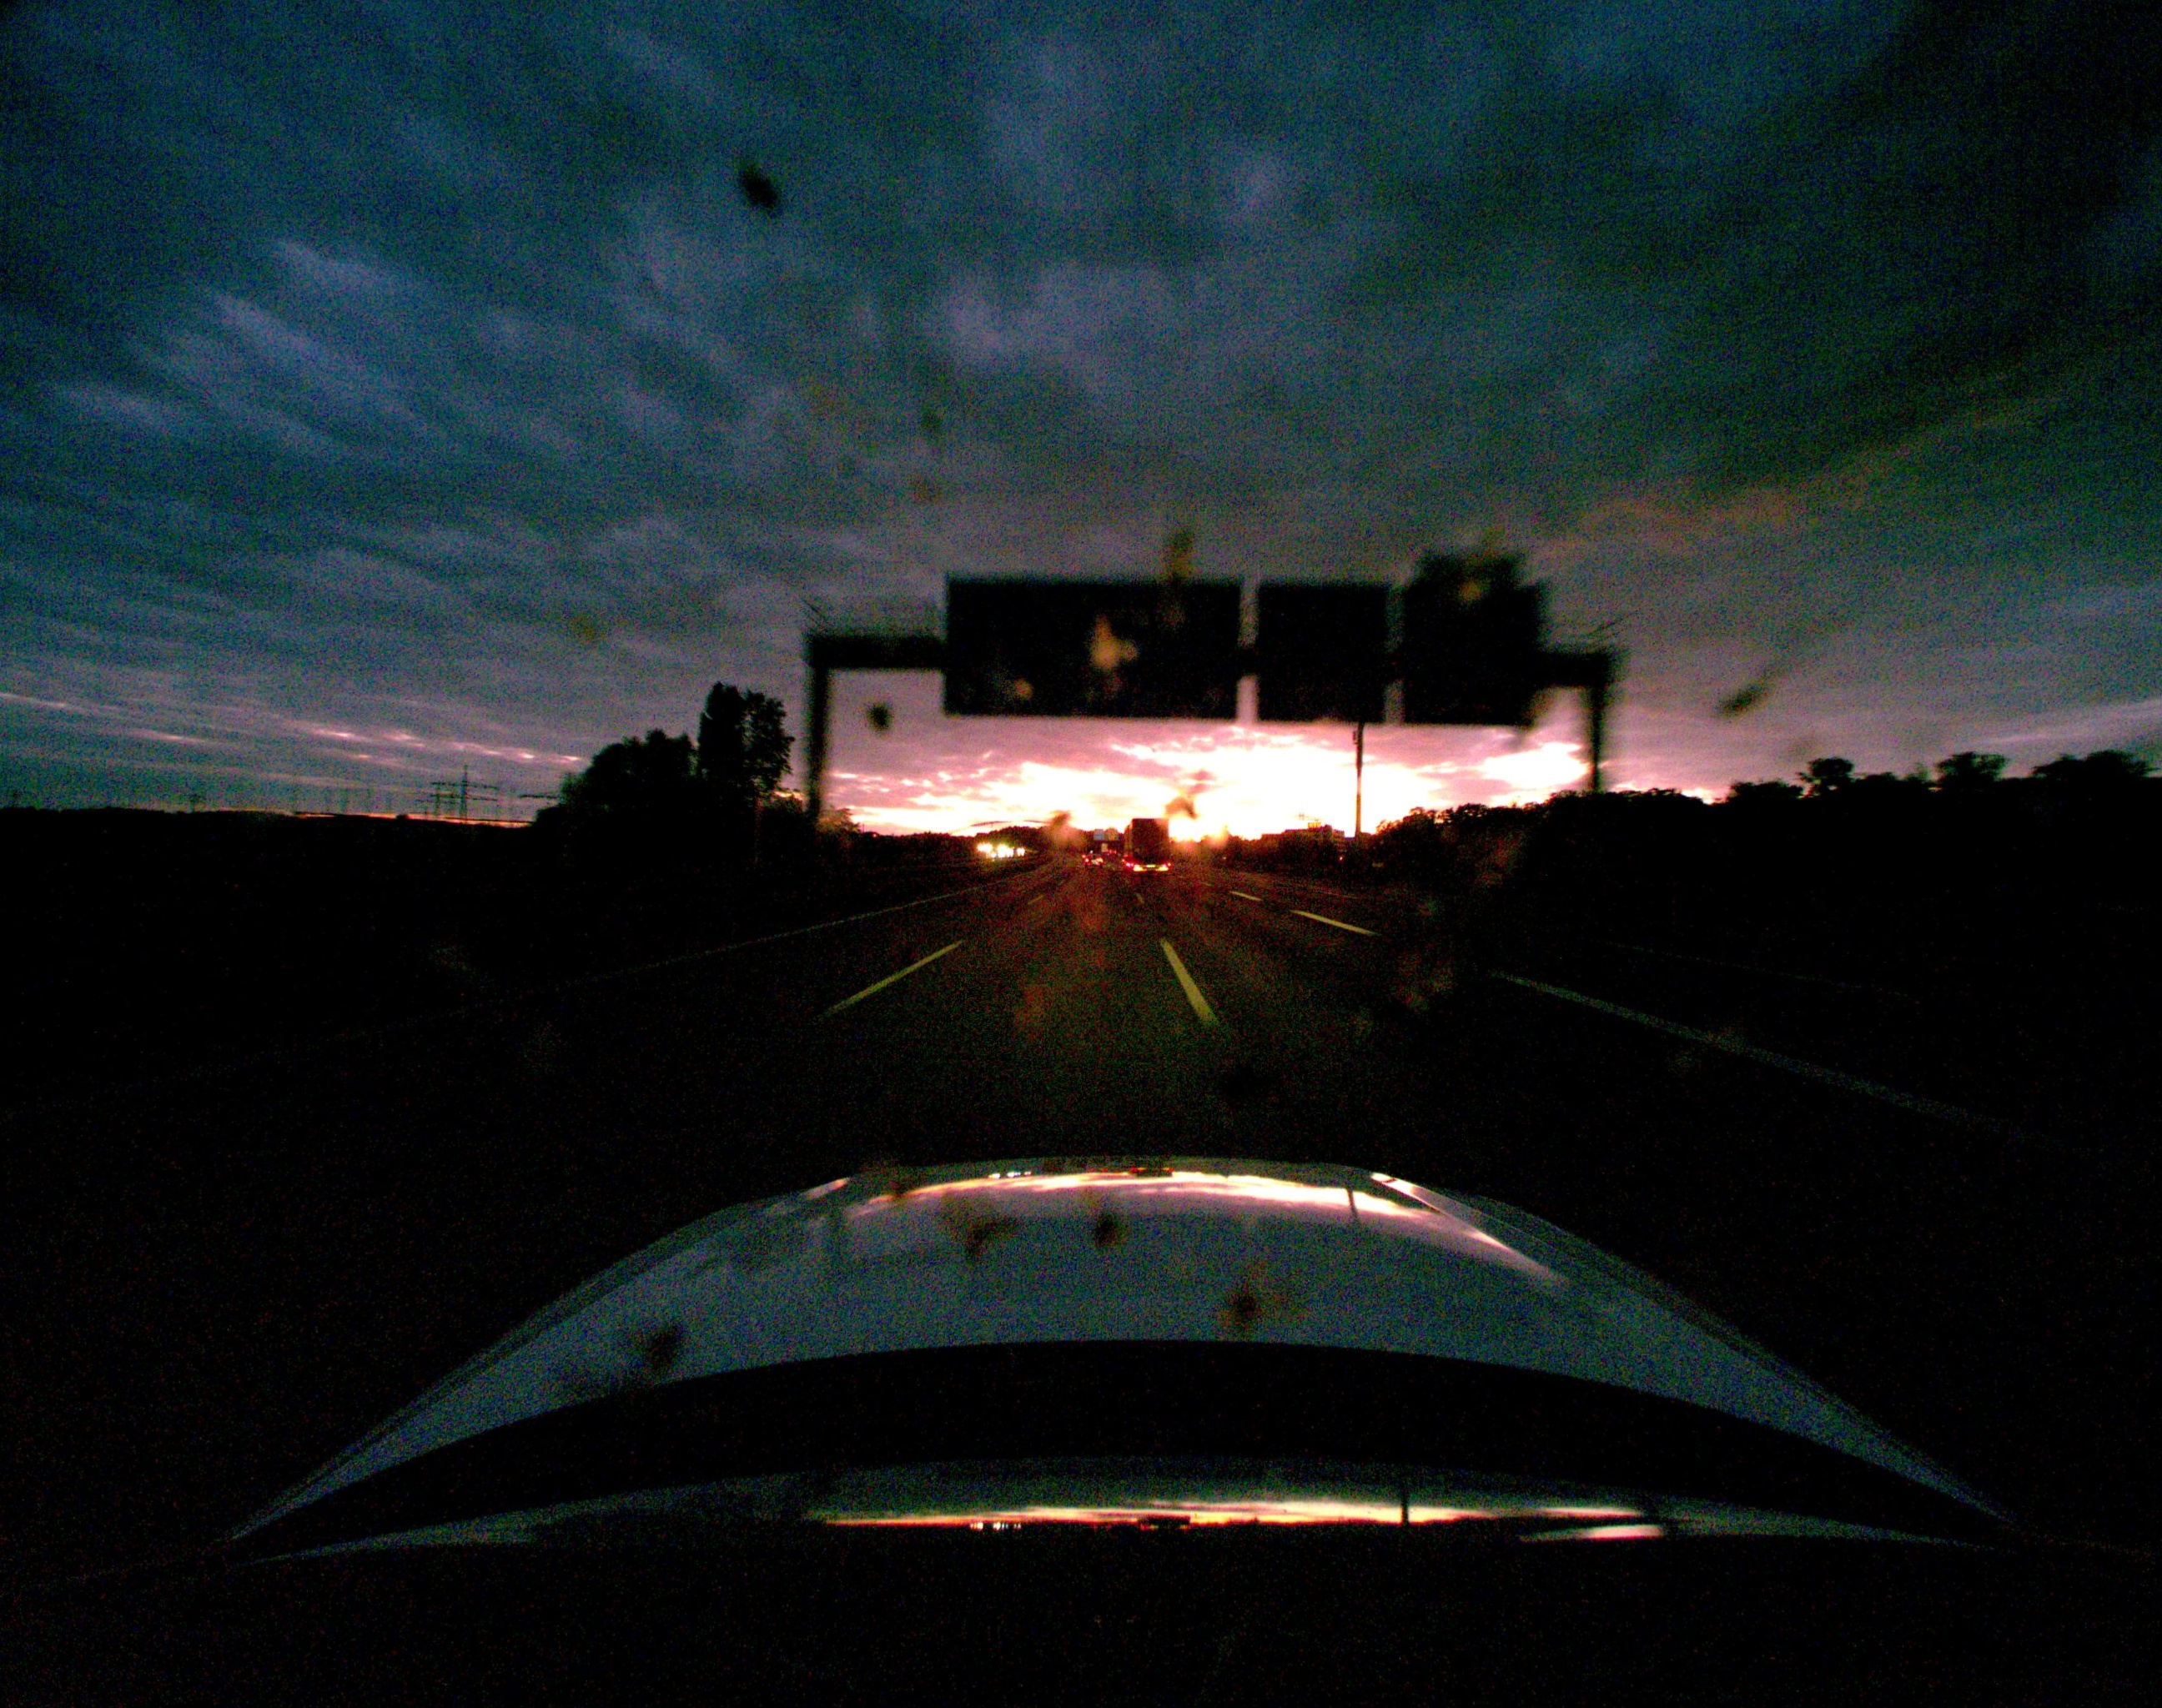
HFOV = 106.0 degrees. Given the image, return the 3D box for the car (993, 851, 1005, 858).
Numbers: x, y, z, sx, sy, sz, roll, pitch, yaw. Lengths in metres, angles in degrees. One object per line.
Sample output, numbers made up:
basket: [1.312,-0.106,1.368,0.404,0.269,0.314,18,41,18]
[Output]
car: [-16.325,0.139,162.136,1.988,1.358,4.863,0,1,-1]

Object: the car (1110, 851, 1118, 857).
car: [9.350,0.014,233.540,1.988,1.717,3.997,0,-1,-2]

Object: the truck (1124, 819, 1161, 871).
truck: [5.104,-0.752,69.403,2.680,4.071,10.524,0,0,2]

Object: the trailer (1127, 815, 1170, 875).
trailer: [4.838,-0.653,59.738,2.711,4.071,8.835,0,0,2]

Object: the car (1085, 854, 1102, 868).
car: [1.322,0.764,87.347,1.684,1.401,3.407,0,-1,-1]

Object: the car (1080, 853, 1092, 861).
car: [0.867,0.530,137.541,1.681,1.401,3.413,-1,-1,5]
